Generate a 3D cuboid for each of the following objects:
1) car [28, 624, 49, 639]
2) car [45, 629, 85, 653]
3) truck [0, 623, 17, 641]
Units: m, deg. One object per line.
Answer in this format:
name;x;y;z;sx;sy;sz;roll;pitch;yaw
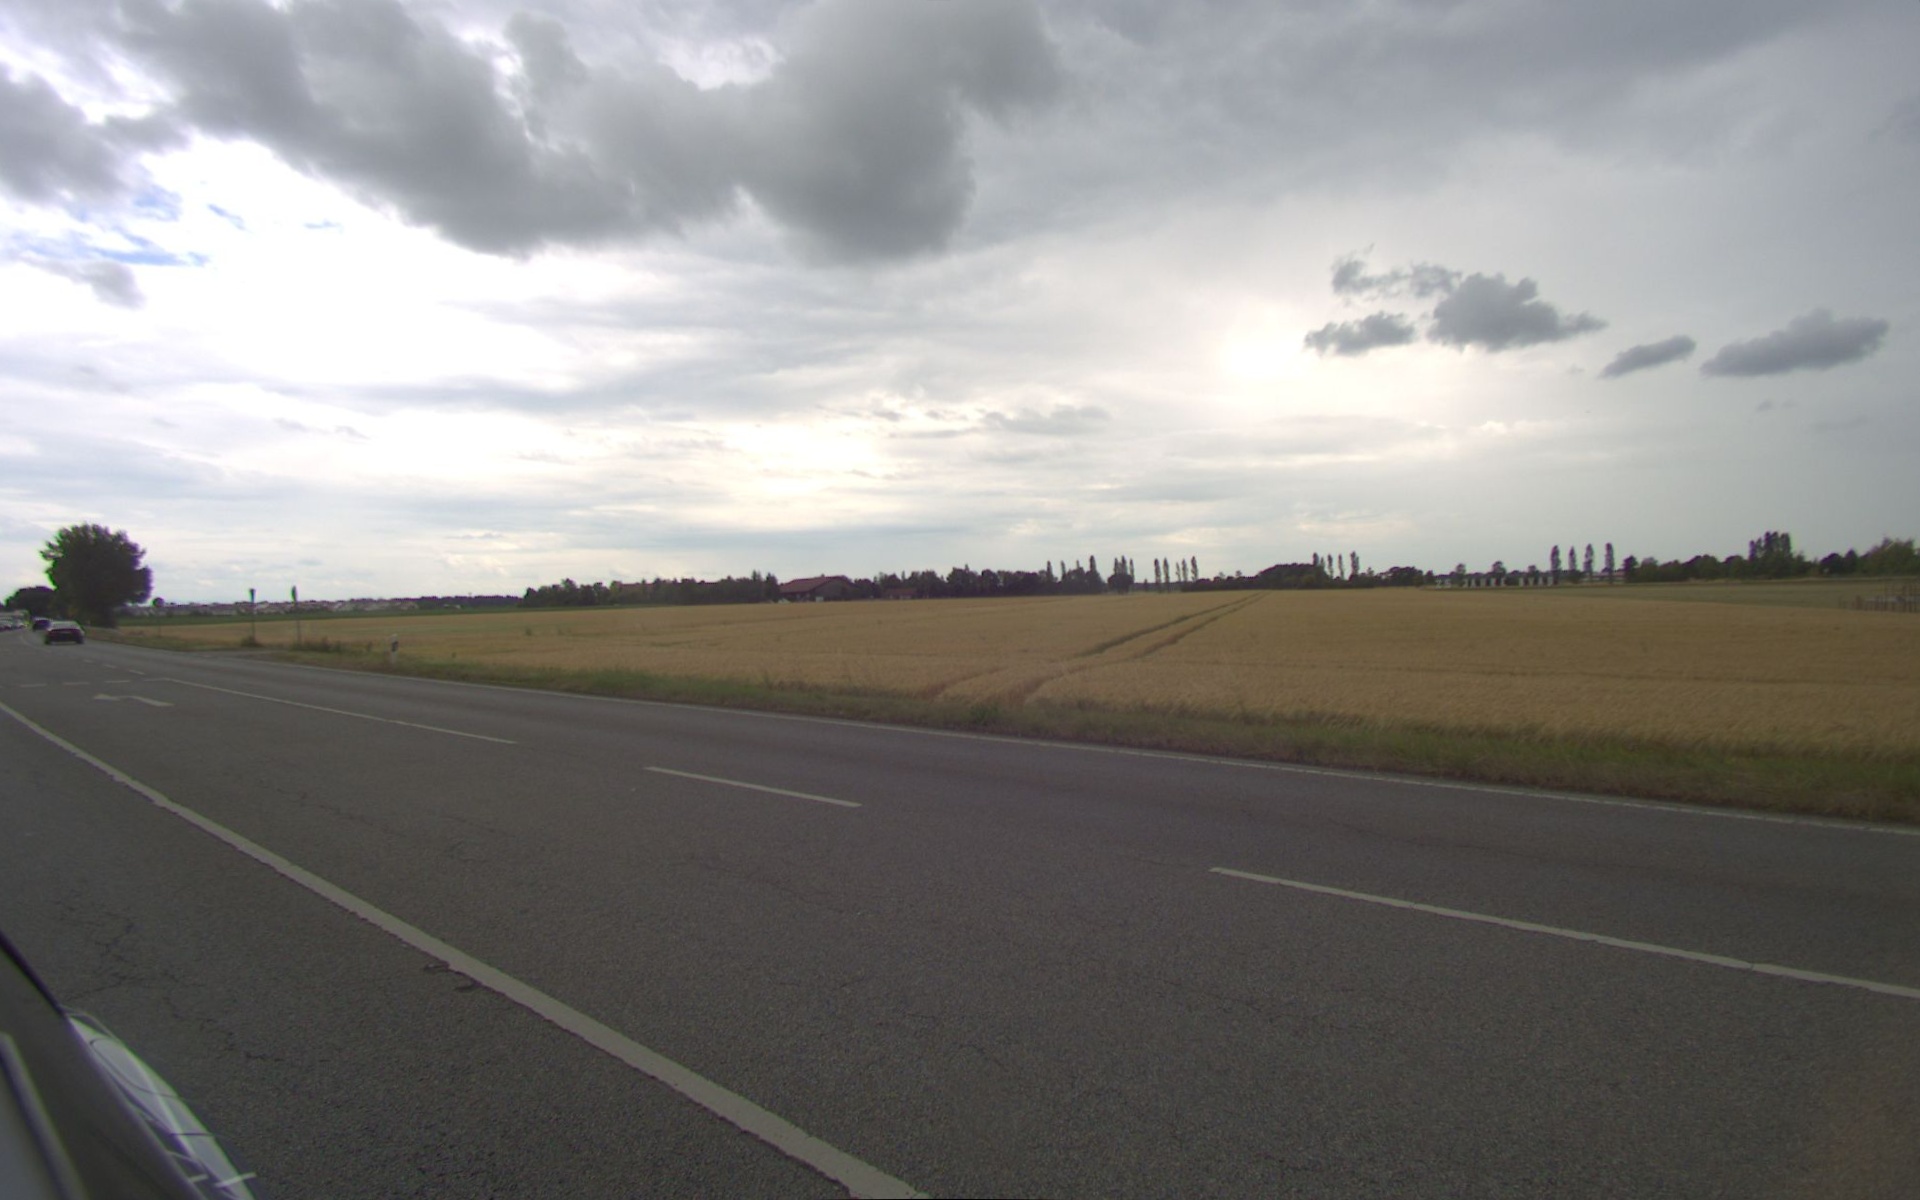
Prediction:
car;-116.917;3.979;128.353;1.924;1.707;4.451;0;-1;-42
car;-56.129;2.542;63.431;1.805;1.421;4.429;-1;-1;-42
truck;-150.924;4.998;159.298;7.657;2.786;2.294;-1;0;36
